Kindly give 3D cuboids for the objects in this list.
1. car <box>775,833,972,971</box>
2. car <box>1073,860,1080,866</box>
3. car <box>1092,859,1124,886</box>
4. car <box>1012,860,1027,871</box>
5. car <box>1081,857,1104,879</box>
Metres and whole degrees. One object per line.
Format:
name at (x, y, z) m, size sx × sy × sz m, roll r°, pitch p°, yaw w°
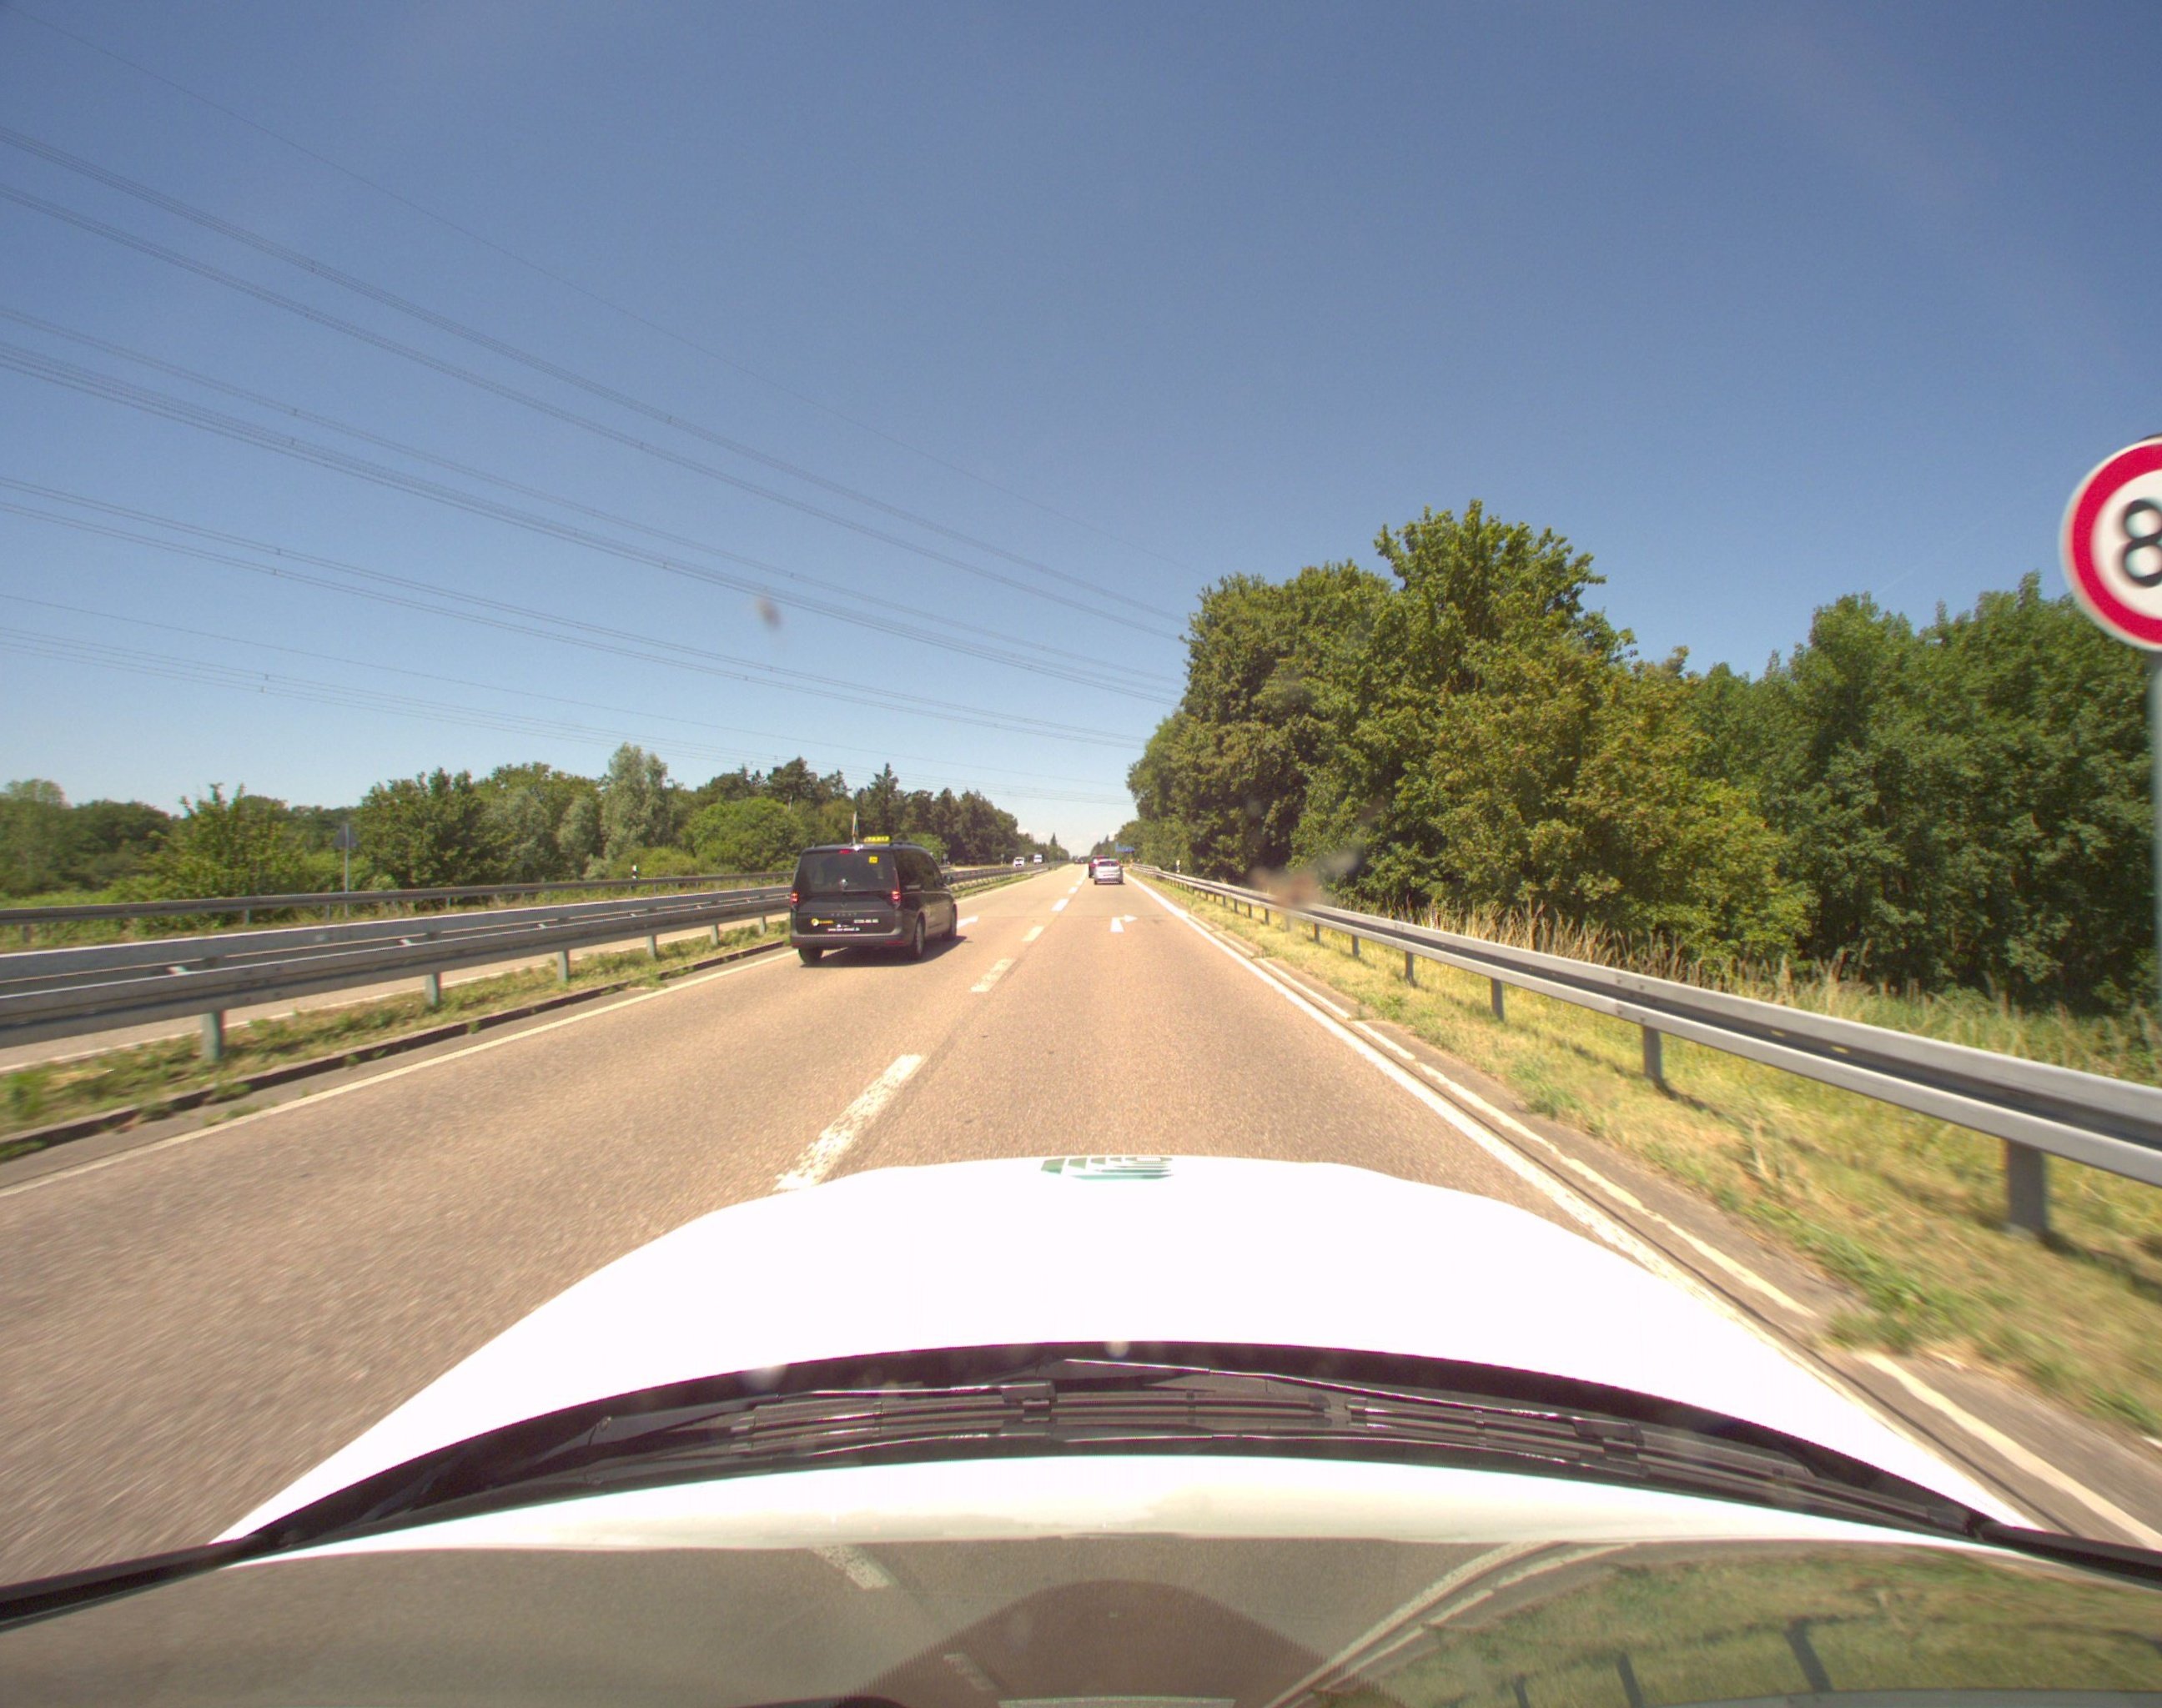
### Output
car at (-3.270, 0.699, 14.138) m, size 1.848 × 1.887 × 5.574 m, roll -1°, pitch -1°, yaw 1°
car at (-1.043, 2.251, 212.502) m, size 1.706 × 1.471 × 3.574 m, roll 1°, pitch -1°, yaw 1°
car at (1.547, 1.078, 47.568) m, size 1.636 × 1.468 × 3.415 m, roll 1°, pitch -1°, yaw -3°
car at (-11.065, 2.042, 146.990) m, size 1.883 × 1.992 × 5.536 m, roll -1°, pitch -1°, yaw 2°
car at (0.867, 1.087, 63.783) m, size 1.635 × 1.654 × 3.572 m, roll 1°, pitch -1°, yaw -1°
